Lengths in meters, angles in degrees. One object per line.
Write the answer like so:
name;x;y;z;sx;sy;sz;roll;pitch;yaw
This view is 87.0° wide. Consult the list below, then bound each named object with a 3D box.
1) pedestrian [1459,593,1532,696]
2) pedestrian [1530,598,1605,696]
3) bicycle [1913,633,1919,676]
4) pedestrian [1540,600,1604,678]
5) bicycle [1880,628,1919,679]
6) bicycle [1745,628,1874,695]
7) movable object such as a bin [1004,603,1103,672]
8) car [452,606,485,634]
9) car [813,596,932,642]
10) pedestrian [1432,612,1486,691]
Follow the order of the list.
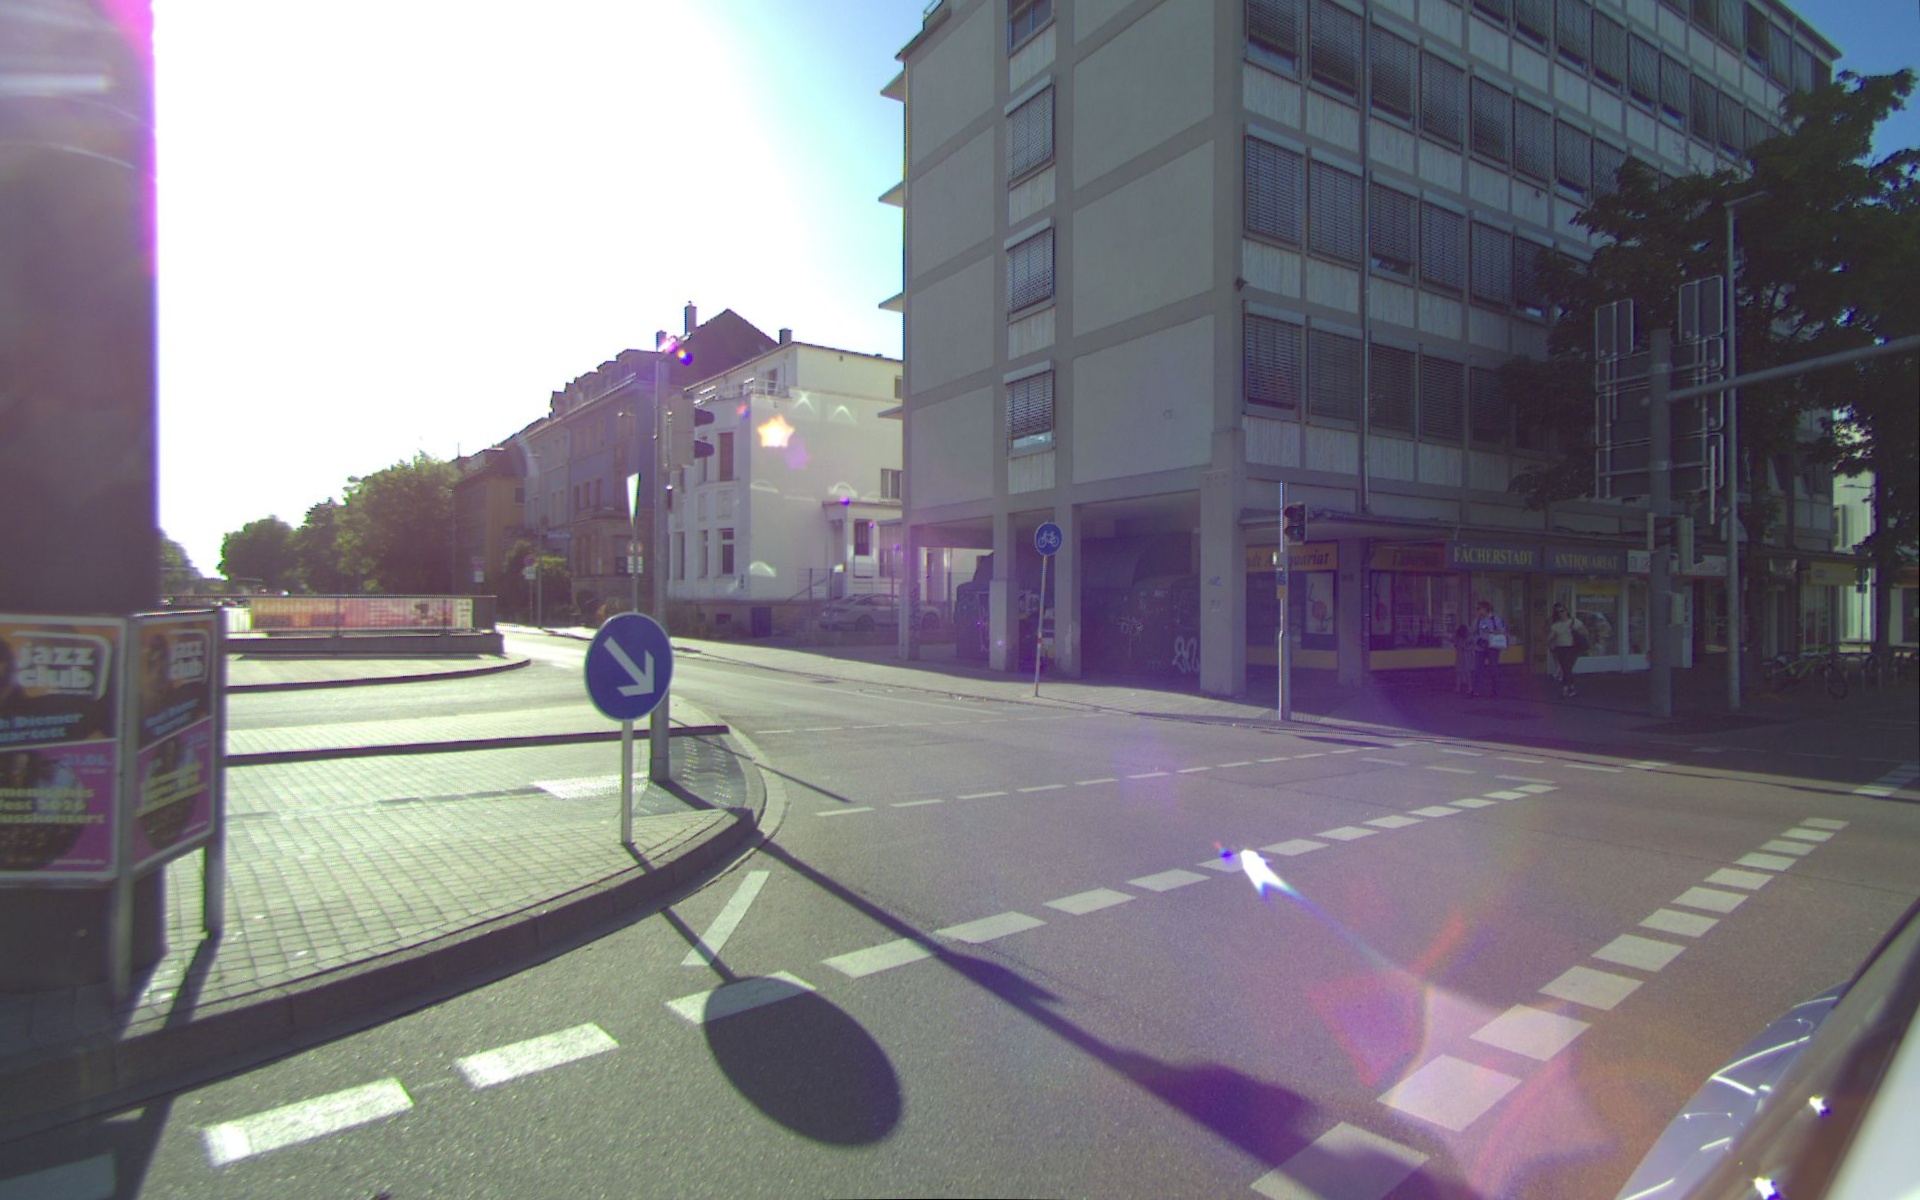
pedestrian;9.421;0.763;17.802;0.831;1.743;0.878;0;-1;-41
pedestrian;11.107;0.834;18.513;0.862;1.729;0.846;0;-1;-31
bicycle;24.451;1.354;24.635;0.448;1.070;1.775;0;-1;-25
pedestrian;13.110;0.813;21.695;0.862;1.623;0.846;0;-1;-31
bicycle;22.737;1.268;23.622;0.427;1.166;1.815;0;0;-34
bicycle;16.849;1.195;20.125;0.471;1.171;1.898;0;1;-29
movable object such as a bin;2.150;0.832;23.511;1.423;1.488;1.918;-1;0;-30
car;-29.625;1.183;60.975;1.655;1.617;3.897;1;-1;-28
car;-3.143;0.648;36.671;3.951;1.578;1.801;0;-1;-37
pedestrian;9.326;0.940;18.929;0.608;1.440;0.647;0;-1;-29
